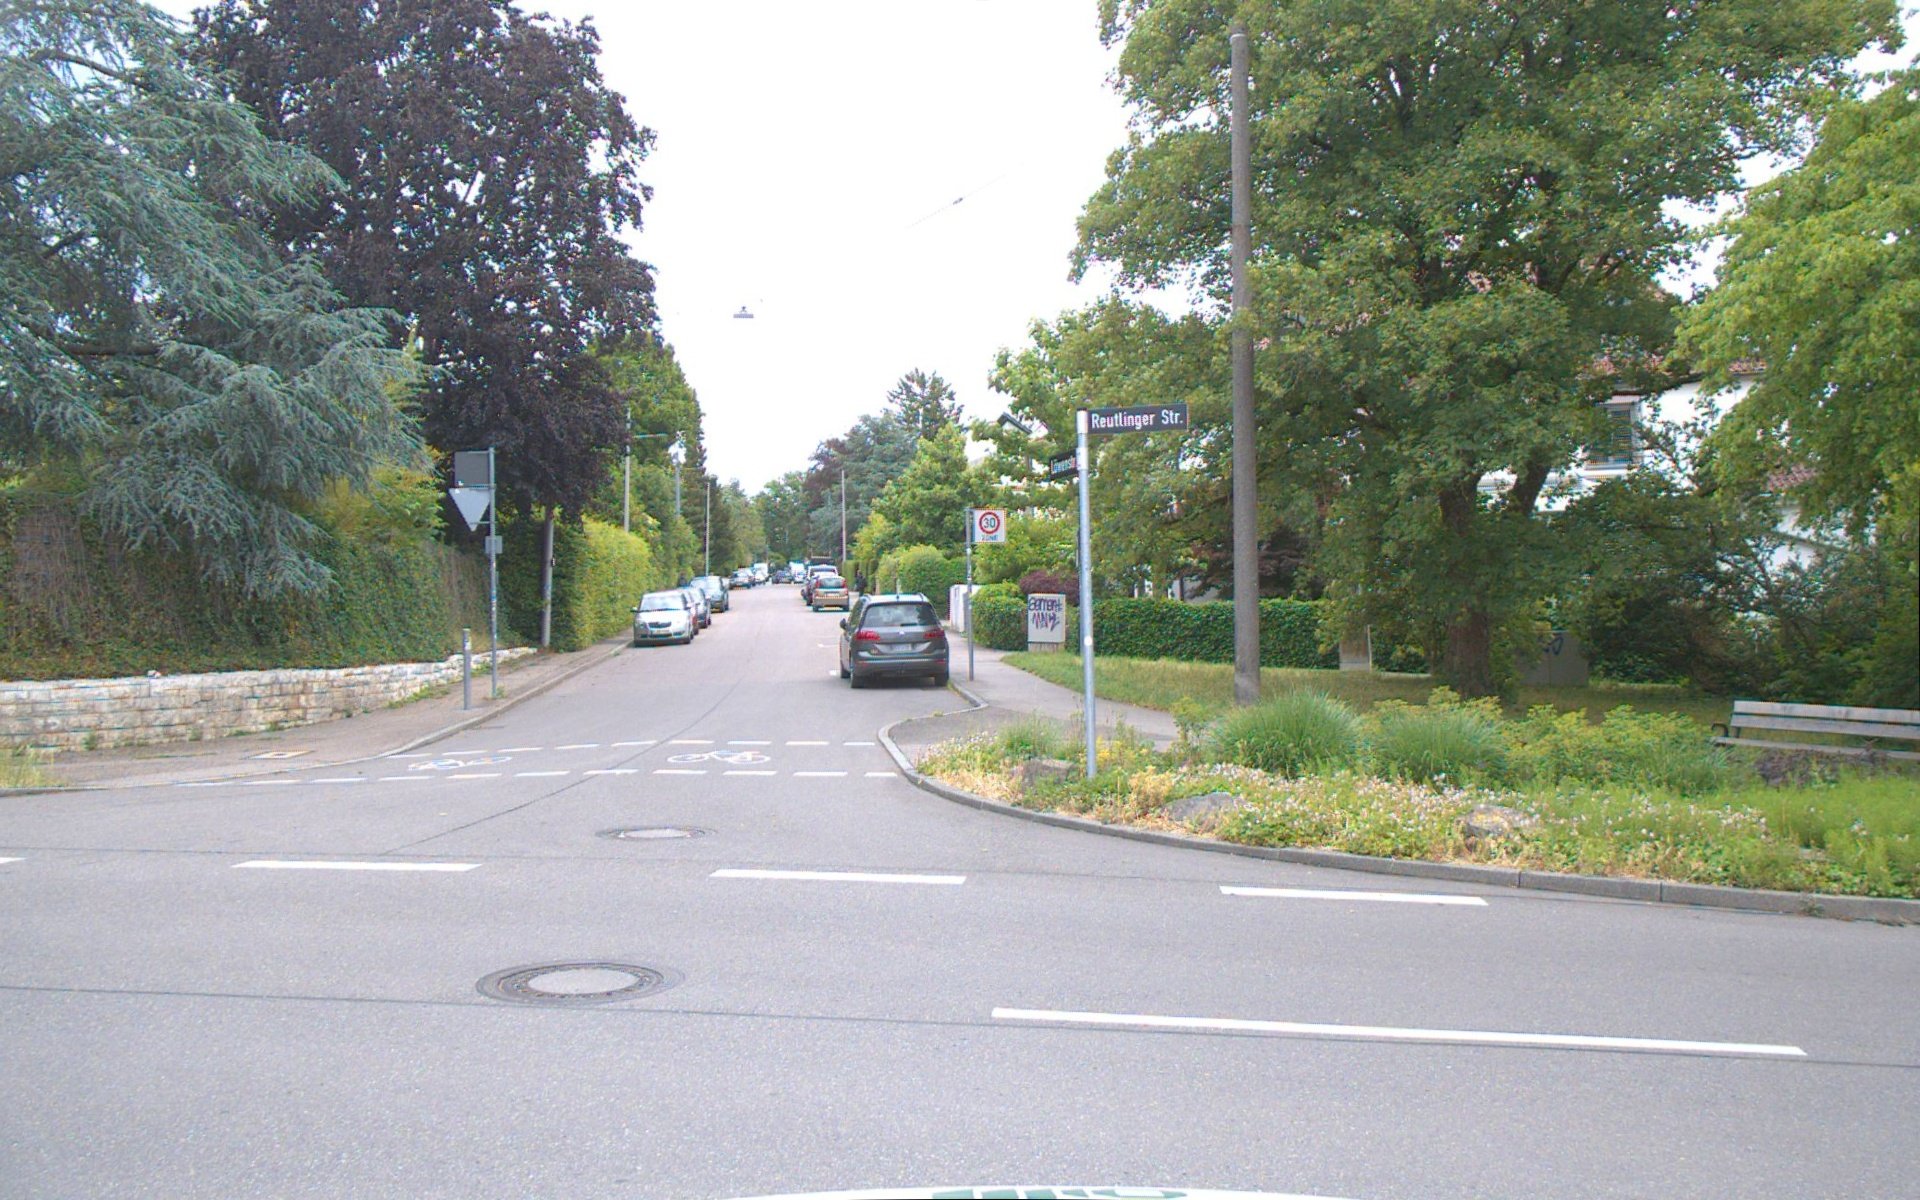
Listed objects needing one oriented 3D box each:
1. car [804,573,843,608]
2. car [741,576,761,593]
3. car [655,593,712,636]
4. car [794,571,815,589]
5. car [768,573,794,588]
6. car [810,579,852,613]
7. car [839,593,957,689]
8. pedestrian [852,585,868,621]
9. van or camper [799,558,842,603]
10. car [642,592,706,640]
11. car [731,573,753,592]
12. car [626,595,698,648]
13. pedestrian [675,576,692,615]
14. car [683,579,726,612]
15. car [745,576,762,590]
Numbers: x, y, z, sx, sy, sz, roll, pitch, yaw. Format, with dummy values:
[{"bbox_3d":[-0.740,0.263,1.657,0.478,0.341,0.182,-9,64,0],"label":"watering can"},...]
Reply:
[{"bbox_3d":[-6.843,-0.471,82.815,1.714,1.668,3.721,-1,0,-8],"label":"car"},{"bbox_3d":[-18.542,-1.366,146.798,1.682,1.488,3.651,1,0,-6],"label":"car"},{"bbox_3d":[-9.910,0.505,59.499,1.910,1.467,3.993,-1,0,-8],"label":"car"},{"bbox_3d":[-16.928,-2.147,180.342,1.905,1.827,4.185,1,0,-10],"label":"car"},{"bbox_3d":[-19.276,-2.114,178.426,1.790,1.601,3.974,-1,0,-22],"label":"car"},{"bbox_3d":[-5.723,-0.172,72.994,1.579,1.438,3.466,1,0,-9],"label":"car"},{"bbox_3d":[-1.188,0.678,29.832,1.783,1.563,3.994,-1,0,-7],"label":"car"},{"bbox_3d":[-5.299,0.165,87.715,0.742,1.904,0.619,1,0,-7],"label":"pedestrian"},{"bbox_3d":[-8.002,-1.095,94.702,2.073,2.447,5.235,-1,0,-9],"label":"van or camper"},{"bbox_3d":[-9.316,0.498,54.024,1.910,1.467,3.993,-1,0,-8],"label":"car"},{"bbox_3d":[-18.076,-1.416,136.965,1.682,1.488,3.651,1,0,-6],"label":"car"},{"bbox_3d":[-8.776,0.602,48.909,1.910,1.467,3.993,-1,0,-8],"label":"car"},{"bbox_3d":[-14.665,-0.240,87.711,0.838,2.049,0.870,1,0,-12],"label":"pedestrian"},{"bbox_3d":[-11.848,-0.218,76.811,1.910,1.467,3.993,-1,0,-8],"label":"car"},{"bbox_3d":[-20.847,-1.744,166.851,1.624,1.358,3.774,1,0,-8],"label":"car"}]
